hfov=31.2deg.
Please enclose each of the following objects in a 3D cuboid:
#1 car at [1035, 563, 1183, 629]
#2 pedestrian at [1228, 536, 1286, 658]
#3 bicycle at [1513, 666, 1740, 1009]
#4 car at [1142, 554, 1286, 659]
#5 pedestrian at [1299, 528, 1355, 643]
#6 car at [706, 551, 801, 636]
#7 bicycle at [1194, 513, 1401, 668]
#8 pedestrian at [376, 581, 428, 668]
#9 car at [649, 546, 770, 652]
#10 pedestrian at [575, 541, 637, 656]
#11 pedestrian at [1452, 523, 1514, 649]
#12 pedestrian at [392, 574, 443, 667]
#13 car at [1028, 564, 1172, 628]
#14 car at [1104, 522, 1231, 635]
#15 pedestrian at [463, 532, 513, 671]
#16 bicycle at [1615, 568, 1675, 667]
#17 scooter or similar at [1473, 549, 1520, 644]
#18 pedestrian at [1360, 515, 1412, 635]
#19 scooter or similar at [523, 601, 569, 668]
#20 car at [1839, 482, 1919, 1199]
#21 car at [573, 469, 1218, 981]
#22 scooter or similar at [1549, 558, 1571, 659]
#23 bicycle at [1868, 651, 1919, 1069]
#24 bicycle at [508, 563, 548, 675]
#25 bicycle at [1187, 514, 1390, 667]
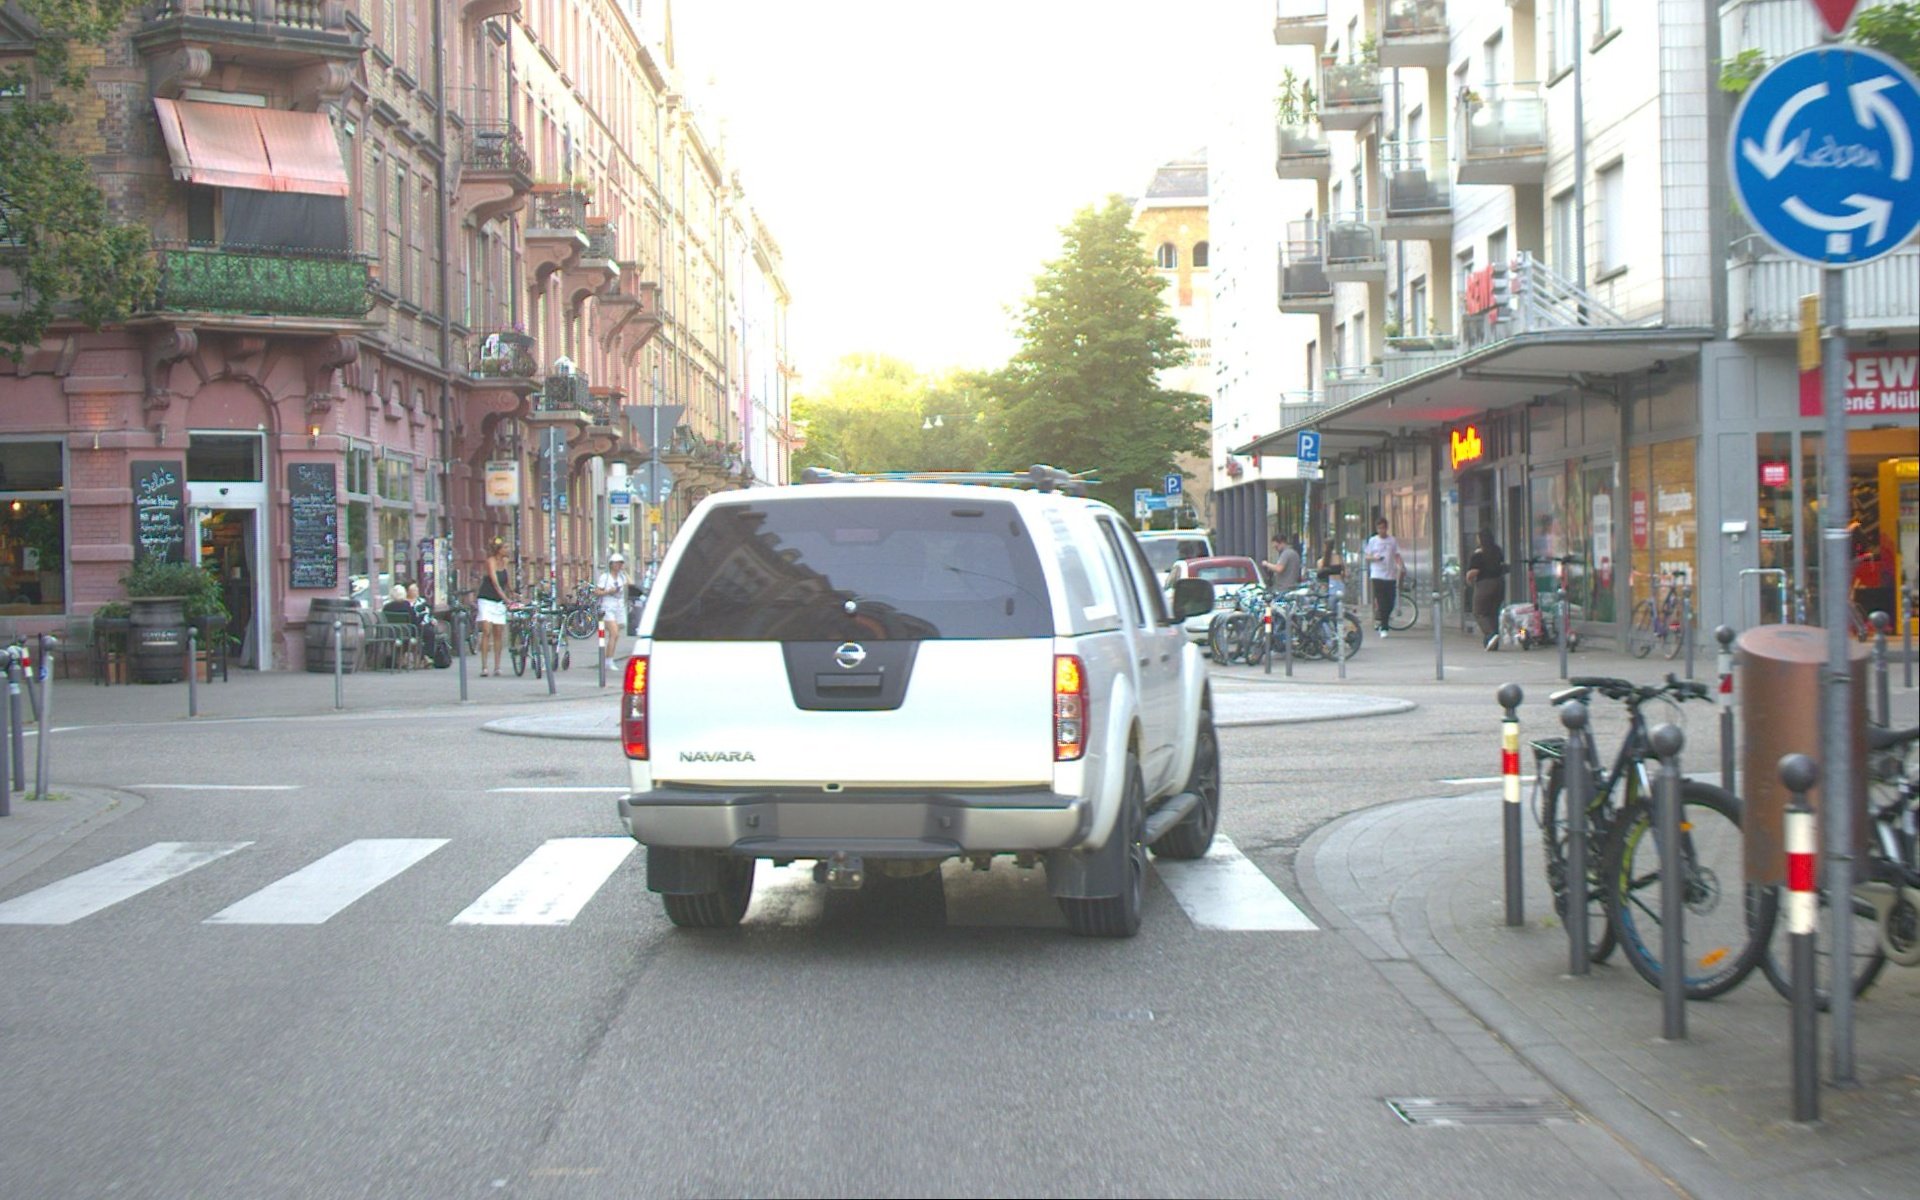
[{"bbox_3d":[4.102,-0.111,95.079,3.987,1.744,1.841,1,0,-1],"label":"car"},{"bbox_3d":[4.089,-0.041,47.383,0.720,1.657,0.702,1,0,0],"label":"pedestrian"},{"bbox_3d":[2.255,0.774,11.759,0.364,1.060,1.552,1,0,-4],"label":"bicycle"},{"bbox_3d":[3.856,0.094,52.724,1.834,1.536,4.000,1,0,-1],"label":"car"},{"bbox_3d":[5.340,-0.207,50.043,0.720,1.657,0.702,1,0,0],"label":"pedestrian"},{"bbox_3d":[-4.367,-0.141,73.080,1.834,1.744,4.163,1,0,-1],"label":"car"},{"bbox_3d":[4.431,-0.125,45.244,2.647,2.007,0.638,1,0,1],"label":"bicycle"},{"bbox_3d":[-7.614,0.332,46.915,0.648,1.187,0.540,1,0,-4],"label":"pedestrian"},{"bbox_3d":[-4.271,-0.015,59.024,1.834,1.744,4.000,1,0,-1],"label":"car"},{"bbox_3d":[-5.018,-0.019,48.785,0.798,1.615,0.944,1,0,-2],"label":"pedestrian"},{"bbox_3d":[6.974,-0.189,45.865,0.720,1.657,0.702,1,0,1],"label":"pedestrian"},{"bbox_3d":[-7.592,0.283,48.101,0.648,1.281,0.540,1,0,-4],"label":"pedestrian"},{"bbox_3d":[3.958,-0.117,97.739,3.987,1.744,1.841,1,0,-1],"label":"car"},{"bbox_3d":[3.675,-0.378,61.504,1.942,1.927,4.000,1,0,-1],"label":"car"},{"bbox_3d":[-6.264,0.023,45.610,0.503,1.834,0.573,1,0,-23],"label":"pedestrian"},{"bbox_3d":[7.840,0.197,39.358,0.289,1.109,0.966,1,0,-13],"label":"bicycle"},{"bbox_3d":[7.393,-0.044,47.438,0.440,1.286,1.667,1,0,2],"label":"scooter or similar"},{"bbox_3d":[6.802,-0.403,54.946,0.720,1.900,0.702,1,0,0],"label":"pedestrian"},{"bbox_3d":[-5.811,0.482,48.215,0.233,0.926,1.266,1,0,-25],"label":"scooter or similar"},{"bbox_3d":[4.170,0.465,8.124,4.036,1.622,1.693,-3,2,-32],"label":"car"},{"bbox_3d":[-0.056,0.362,14.707,1.938,1.804,4.999,0,2,9],"label":"car"},{"bbox_3d":[7.590,0.101,43.504,0.219,1.233,0.966,0,2,7],"label":"scooter or similar"},{"bbox_3d":[3.398,0.703,9.810,1.547,1.157,0.365,-2,1,-14],"label":"bicycle"},{"bbox_3d":[-5.712,0.243,45.471,0.424,1.438,1.905,1,0,-5],"label":"bicycle"},{"bbox_3d":[4.386,-0.127,46.059,2.647,2.007,0.638,1,0,1],"label":"bicycle"}]
